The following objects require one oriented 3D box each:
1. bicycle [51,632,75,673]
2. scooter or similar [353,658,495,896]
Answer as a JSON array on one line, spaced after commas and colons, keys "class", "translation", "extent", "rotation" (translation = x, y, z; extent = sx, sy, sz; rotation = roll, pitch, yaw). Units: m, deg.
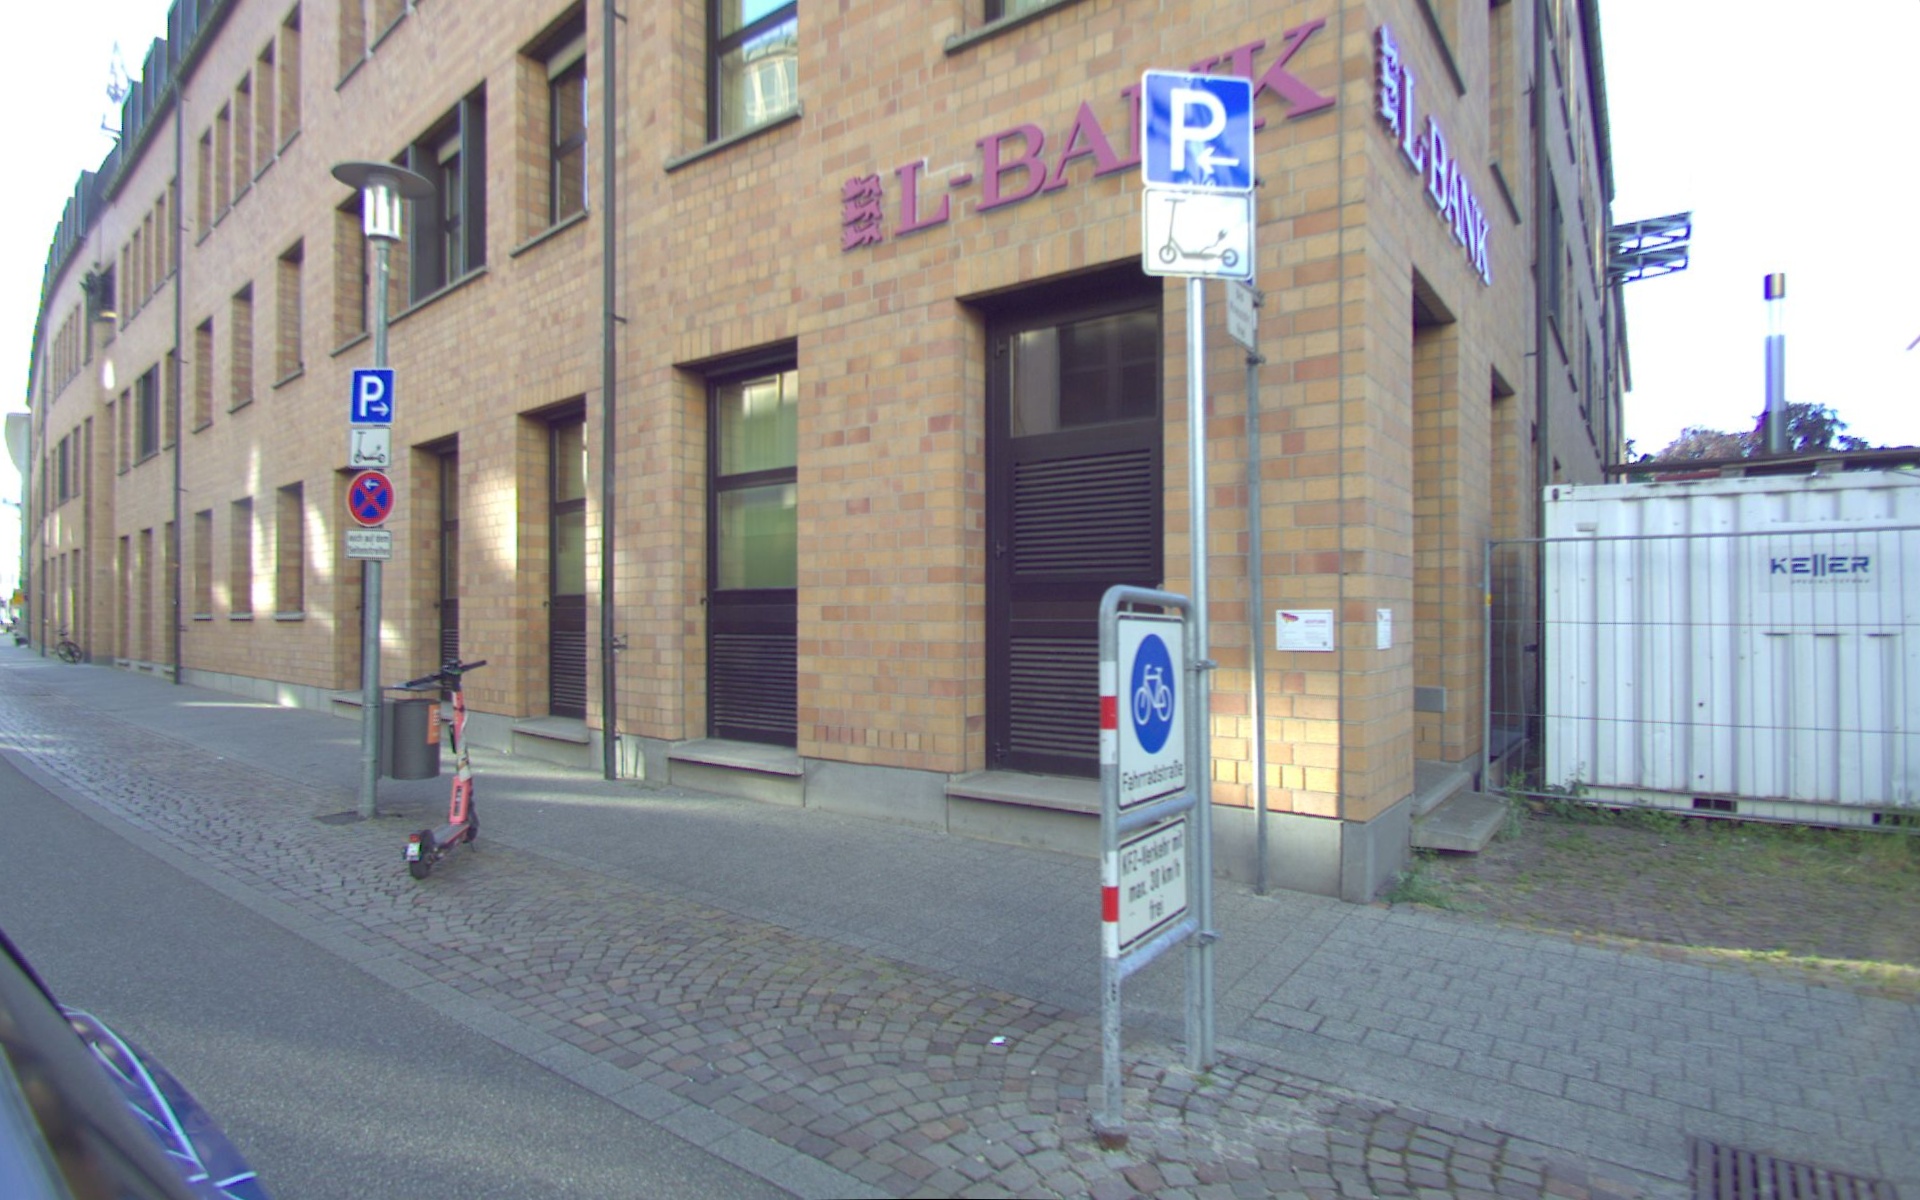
[{"class": "bicycle", "translation": [-26.461, 1.534, 29.854], "extent": [0.425, 1.153, 1.691], "rotation": [0, -1, -45]}, {"class": "scooter or similar", "translation": [-3.142, 0.972, 6.029], "extent": [0.460, 1.234, 1.303], "rotation": [1, -3, -16]}]
